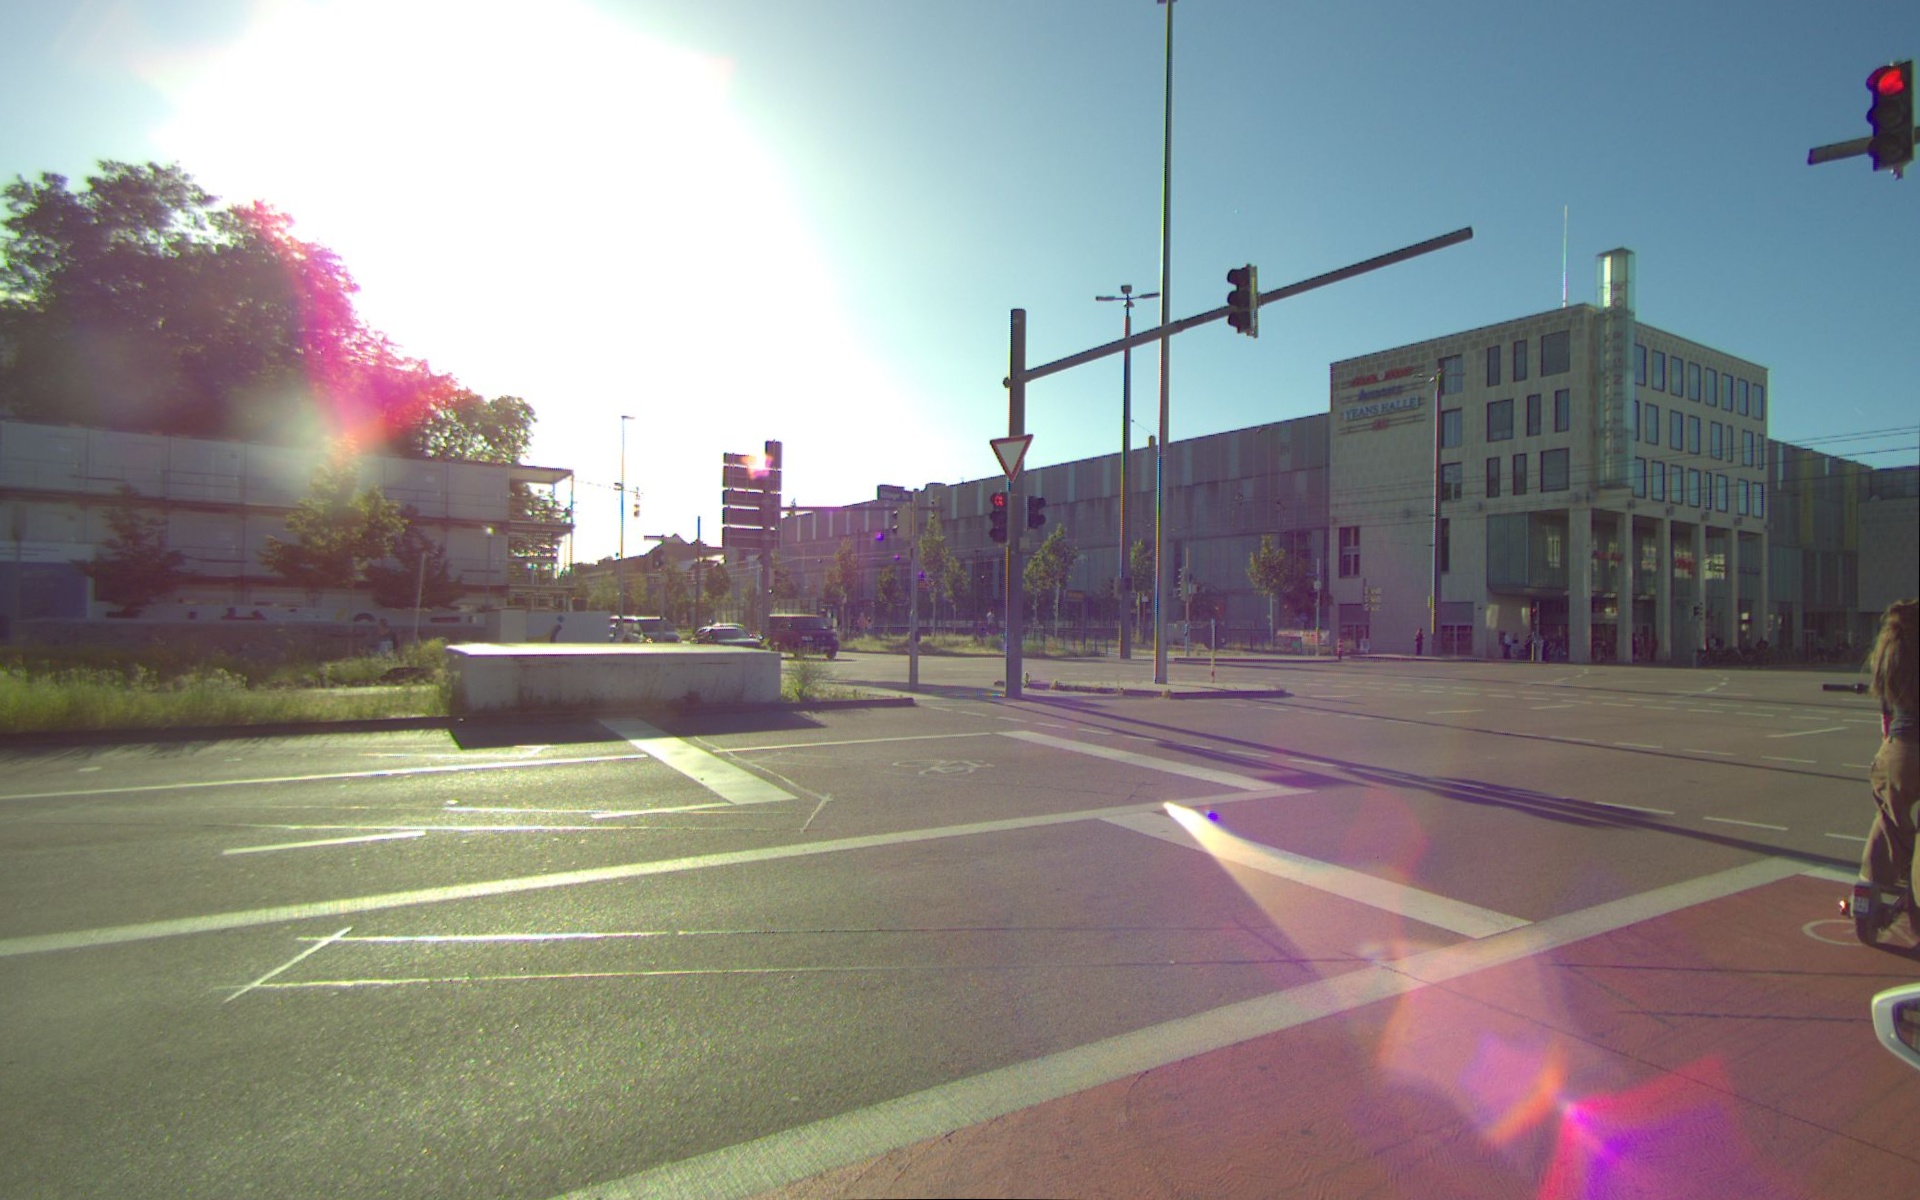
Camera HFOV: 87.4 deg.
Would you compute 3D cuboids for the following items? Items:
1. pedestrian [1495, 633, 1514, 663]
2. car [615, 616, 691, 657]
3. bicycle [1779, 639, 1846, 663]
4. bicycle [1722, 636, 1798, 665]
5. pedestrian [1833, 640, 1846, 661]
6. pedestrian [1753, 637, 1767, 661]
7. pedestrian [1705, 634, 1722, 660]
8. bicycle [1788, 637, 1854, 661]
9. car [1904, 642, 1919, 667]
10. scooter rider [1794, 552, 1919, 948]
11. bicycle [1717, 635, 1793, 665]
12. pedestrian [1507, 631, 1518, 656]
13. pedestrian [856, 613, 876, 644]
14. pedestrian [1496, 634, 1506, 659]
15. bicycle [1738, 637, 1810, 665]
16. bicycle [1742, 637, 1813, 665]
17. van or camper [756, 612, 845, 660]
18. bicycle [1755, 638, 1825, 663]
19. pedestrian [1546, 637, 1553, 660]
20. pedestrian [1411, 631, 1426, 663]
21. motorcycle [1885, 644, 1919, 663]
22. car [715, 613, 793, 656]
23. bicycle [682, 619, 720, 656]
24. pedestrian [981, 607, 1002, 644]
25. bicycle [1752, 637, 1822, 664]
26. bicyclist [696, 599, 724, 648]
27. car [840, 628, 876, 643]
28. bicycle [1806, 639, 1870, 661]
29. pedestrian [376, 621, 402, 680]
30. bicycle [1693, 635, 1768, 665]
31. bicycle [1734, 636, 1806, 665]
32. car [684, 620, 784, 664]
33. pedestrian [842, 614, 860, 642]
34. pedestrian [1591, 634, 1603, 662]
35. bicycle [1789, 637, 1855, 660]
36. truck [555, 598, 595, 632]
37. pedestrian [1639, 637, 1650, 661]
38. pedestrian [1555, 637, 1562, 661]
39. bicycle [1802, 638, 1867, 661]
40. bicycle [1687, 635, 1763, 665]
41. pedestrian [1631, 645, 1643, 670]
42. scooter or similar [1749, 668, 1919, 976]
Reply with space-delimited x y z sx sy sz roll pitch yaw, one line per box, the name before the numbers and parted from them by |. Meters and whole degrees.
pedestrian | 32.910 2.896 60.705 0.729 1.822 0.752 1 -1 -34
car | -14.735 1.698 48.007 1.981 1.849 4.821 1 -2 -36
bicycle | 58.868 3.476 69.389 0.979 1.547 3.462 2 -2 -40
bicycle | 49.138 3.076 61.739 1.107 1.719 3.465 1 -2 -38
pedestrian | 69.198 3.961 79.013 0.690 1.664 0.690 2 -2 -44
pedestrian | 56.194 3.420 70.559 0.689 1.664 0.648 1 -1 -38
pedestrian | 50.163 3.117 66.884 0.689 1.664 0.777 1 -1 -41
bicycle | 60.376 3.431 70.470 0.979 1.547 3.462 2 -2 -40
car | 60.447 3.387 62.551 3.966 1.505 1.978 2 -2 -39
scooter rider | 4.659 0.688 4.861 0.801 1.798 0.725 1 -1 -30
bicycle | 48.209 3.010 60.938 1.107 1.719 3.465 1 -2 -38
pedestrian | 34.896 2.760 63.404 0.452 1.586 0.420 1 -1 -30
pedestrian | -5.778 1.739 61.750 0.889 1.855 0.787 1 -1 -35
pedestrian | 34.472 2.985 63.977 0.452 1.586 0.420 1 -1 -30
bicycle | 51.940 3.224 64.158 0.979 1.719 3.462 1 -2 -40
bicycle | 52.853 3.256 64.962 0.979 1.719 3.462 1 -2 -40
van or camper | -7.303 1.587 45.532 1.981 2.040 4.821 1 -2 -36
bicycle | 55.250 3.326 66.921 0.979 1.547 3.462 2 -2 -40
pedestrian | 36.611 2.999 62.368 0.380 1.445 0.502 0 -1 28
pedestrian | 24.357 2.484 53.345 0.543 1.716 0.521 1 -1 -40
motorcycle | 70.740 4.014 75.084 0.713 1.335 2.260 1 -2 -34
car | -10.396 1.692 50.417 1.981 2.040 4.821 1 -2 -36
bicycle | -14.796 2.088 57.258 1.007 2.040 3.472 1 -2 -33
pedestrian | 1.579 1.281 50.593 0.788 1.855 0.706 1 -1 -37
bicycle | 54.499 3.317 66.252 0.979 1.719 3.462 1 -2 -40
bicyclist | -13.936 1.317 55.981 1.007 2.677 1.610 1 -1 -34
car | -11.036 3.833 108.747 1.980 1.628 4.437 2 -2 -35
bicycle | 64.500 3.643 73.851 0.979 1.547 3.462 2 -2 -40
pedestrian | -16.476 1.454 28.999 0.619 1.674 0.935 1 -1 -30
bicycle | 46.590 2.982 60.812 1.107 1.719 3.465 1 -2 -38
bicycle | 51.114 3.187 63.424 0.979 1.719 3.462 1 -2 -40
car | -9.403 1.700 41.511 2.313 1.671 4.821 1 -2 -37
pedestrian | -7.119 1.822 65.722 0.889 1.855 0.787 1 -1 -35
pedestrian | 37.407 2.805 58.994 0.532 1.664 0.549 0 -1 28
bicycle | 61.182 3.448 71.302 0.979 1.547 3.462 2 -2 -40
truck | -33.485 1.322 87.249 1.979 2.875 6.293 1 -2 -33
pedestrian | 44.907 3.211 65.900 0.508 1.530 0.479 1 -1 -34
pedestrian | 37.028 3.035 62.133 0.380 1.431 0.437 0 -1 28
bicycle | 63.700 3.587 73.202 0.979 1.547 3.462 2 -2 -40
bicycle | 45.693 2.974 60.032 1.107 1.719 3.465 1 -2 -38
pedestrian | 44.328 3.752 65.747 0.508 1.606 0.479 1 -1 -34
scooter or similar | 4.571 0.964 4.787 1.645 1.218 0.725 1 -1 -30
